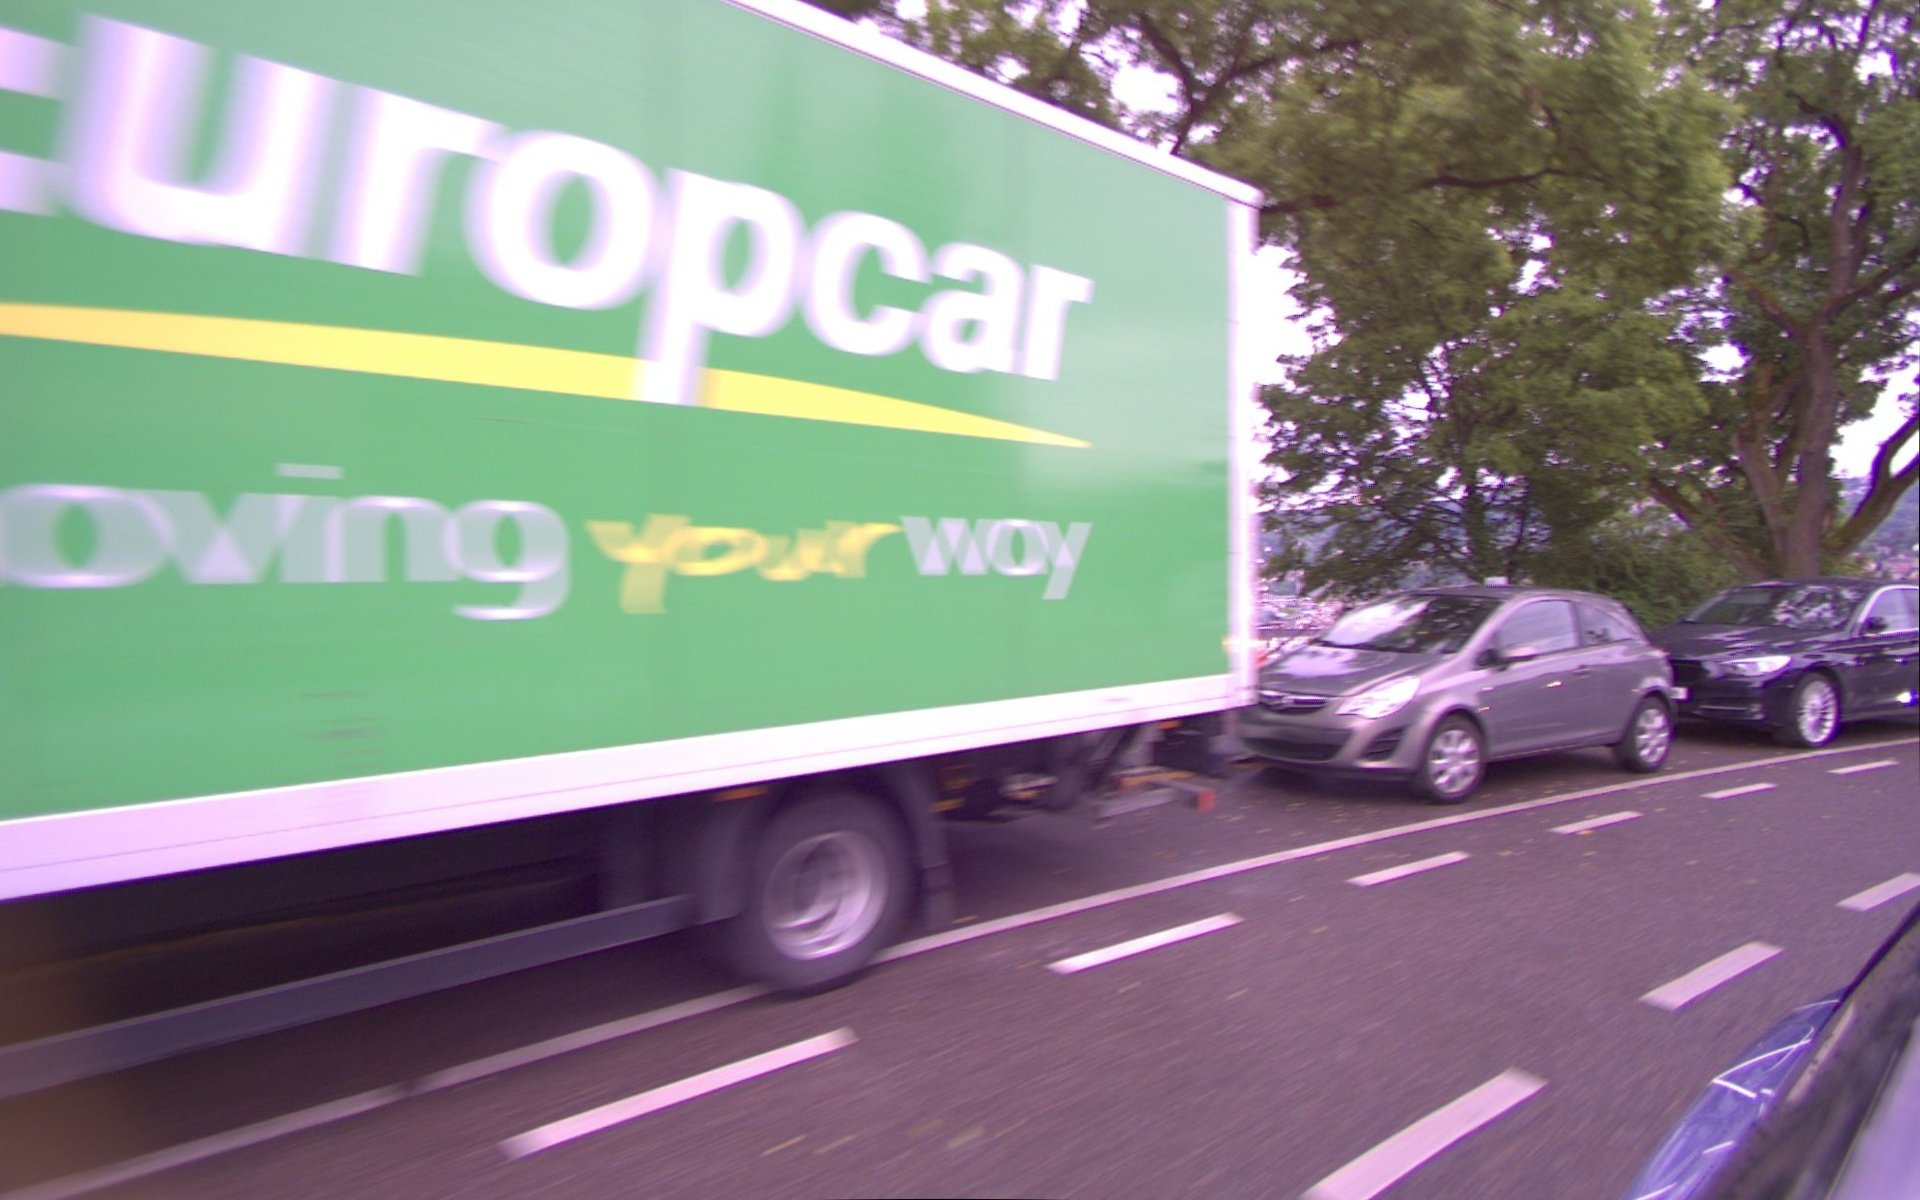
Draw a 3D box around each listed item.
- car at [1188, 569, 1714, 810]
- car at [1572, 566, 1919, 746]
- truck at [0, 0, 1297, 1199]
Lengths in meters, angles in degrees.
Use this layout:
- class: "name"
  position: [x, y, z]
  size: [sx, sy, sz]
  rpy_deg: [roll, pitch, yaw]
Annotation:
- class: "car"
  position: [3.979, 0.519, 8.109]
  size: [4.052, 1.522, 1.742]
  rpy_deg: [-1, 1, -28]
- class: "car"
  position: [8.958, 0.446, 10.542]
  size: [4.792, 1.562, 1.870]
  rpy_deg: [-1, 1, -21]
- class: "truck"
  position: [-2.548, -0.346, 3.324]
  size: [8.776, 3.513, 2.779]
  rpy_deg: [-1, 2, -40]
